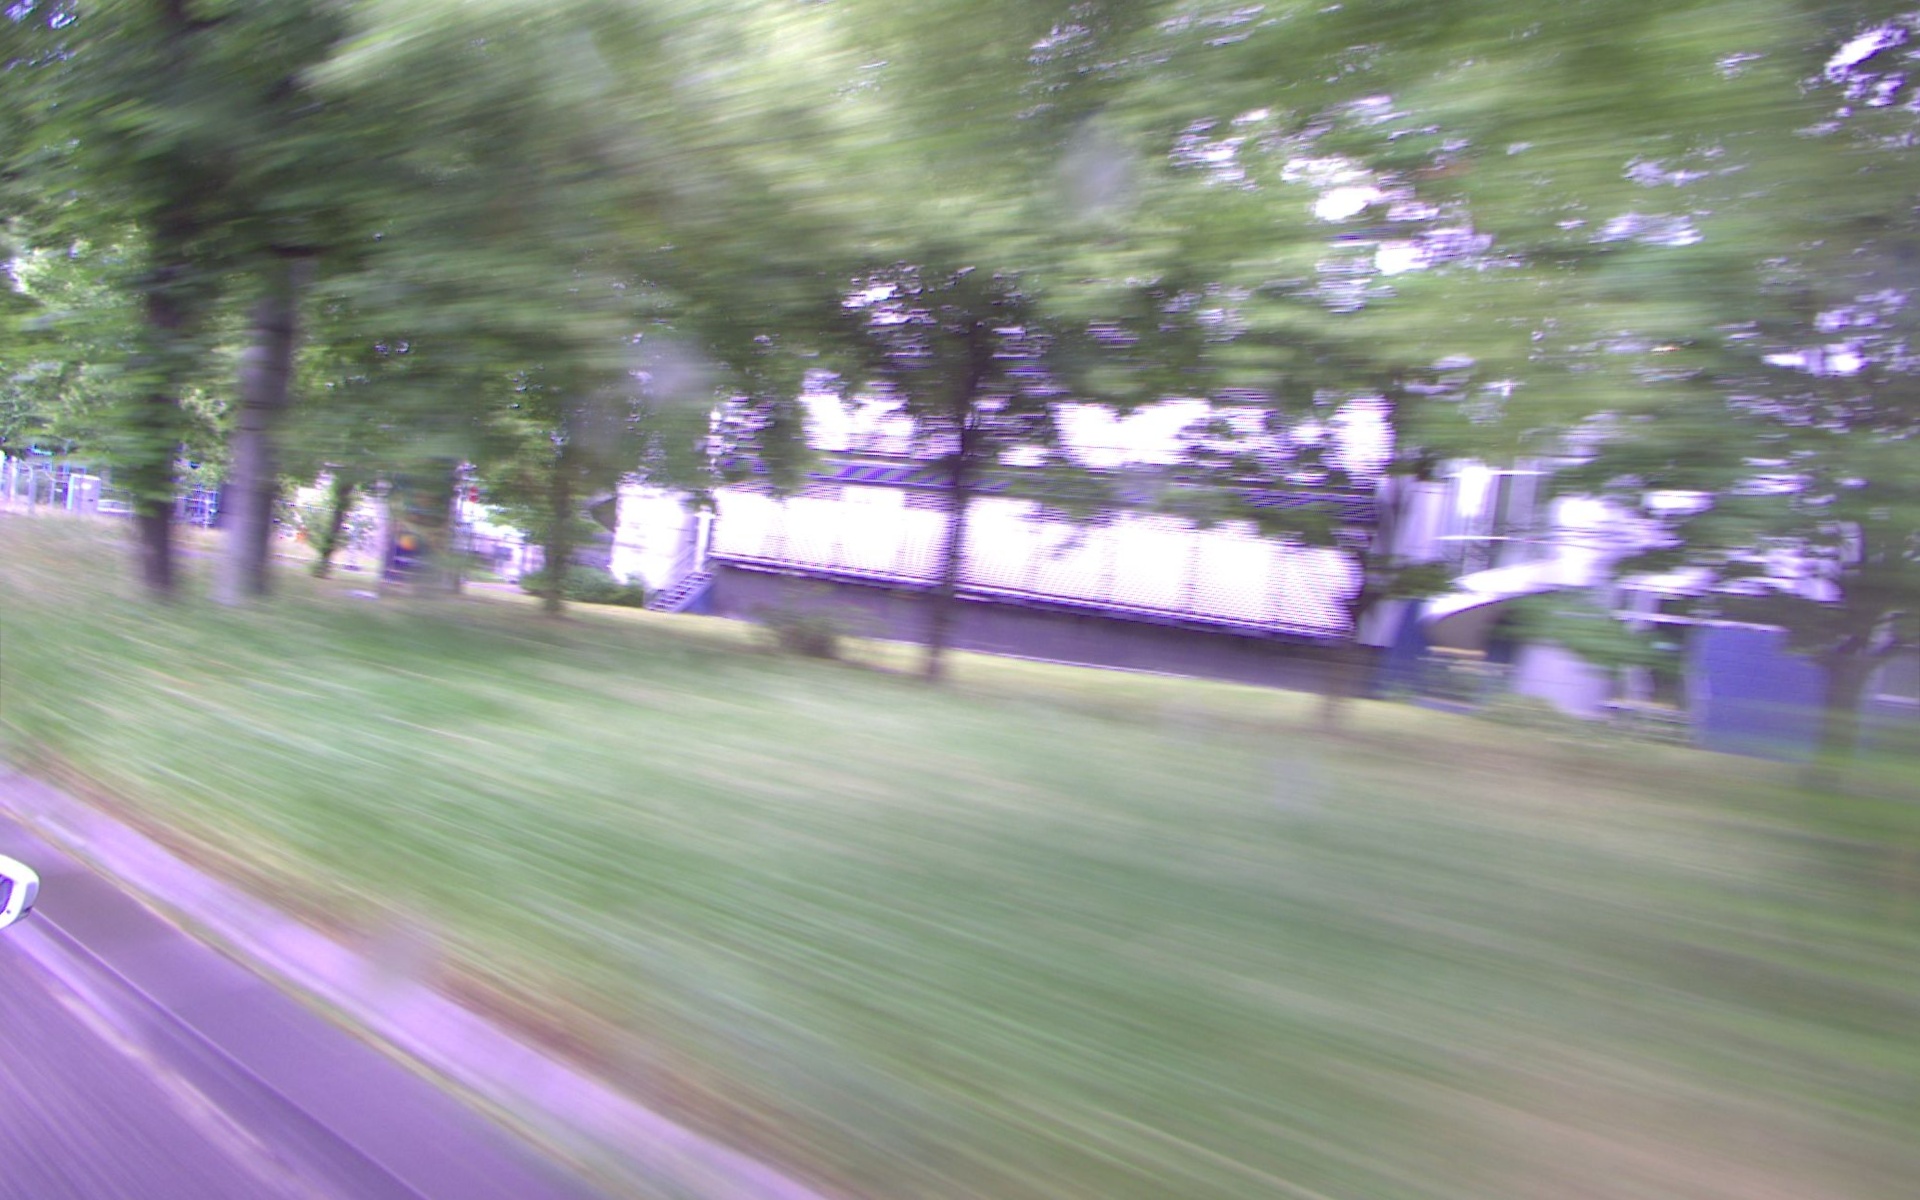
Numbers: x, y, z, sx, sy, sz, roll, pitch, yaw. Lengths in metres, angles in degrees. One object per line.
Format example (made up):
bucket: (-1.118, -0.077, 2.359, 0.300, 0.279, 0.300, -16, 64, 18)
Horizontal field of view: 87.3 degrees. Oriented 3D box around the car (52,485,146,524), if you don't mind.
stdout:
car: (-53.526, -5.927, 62.576, 1.730, 1.663, 4.096, 10, 2, 37)
